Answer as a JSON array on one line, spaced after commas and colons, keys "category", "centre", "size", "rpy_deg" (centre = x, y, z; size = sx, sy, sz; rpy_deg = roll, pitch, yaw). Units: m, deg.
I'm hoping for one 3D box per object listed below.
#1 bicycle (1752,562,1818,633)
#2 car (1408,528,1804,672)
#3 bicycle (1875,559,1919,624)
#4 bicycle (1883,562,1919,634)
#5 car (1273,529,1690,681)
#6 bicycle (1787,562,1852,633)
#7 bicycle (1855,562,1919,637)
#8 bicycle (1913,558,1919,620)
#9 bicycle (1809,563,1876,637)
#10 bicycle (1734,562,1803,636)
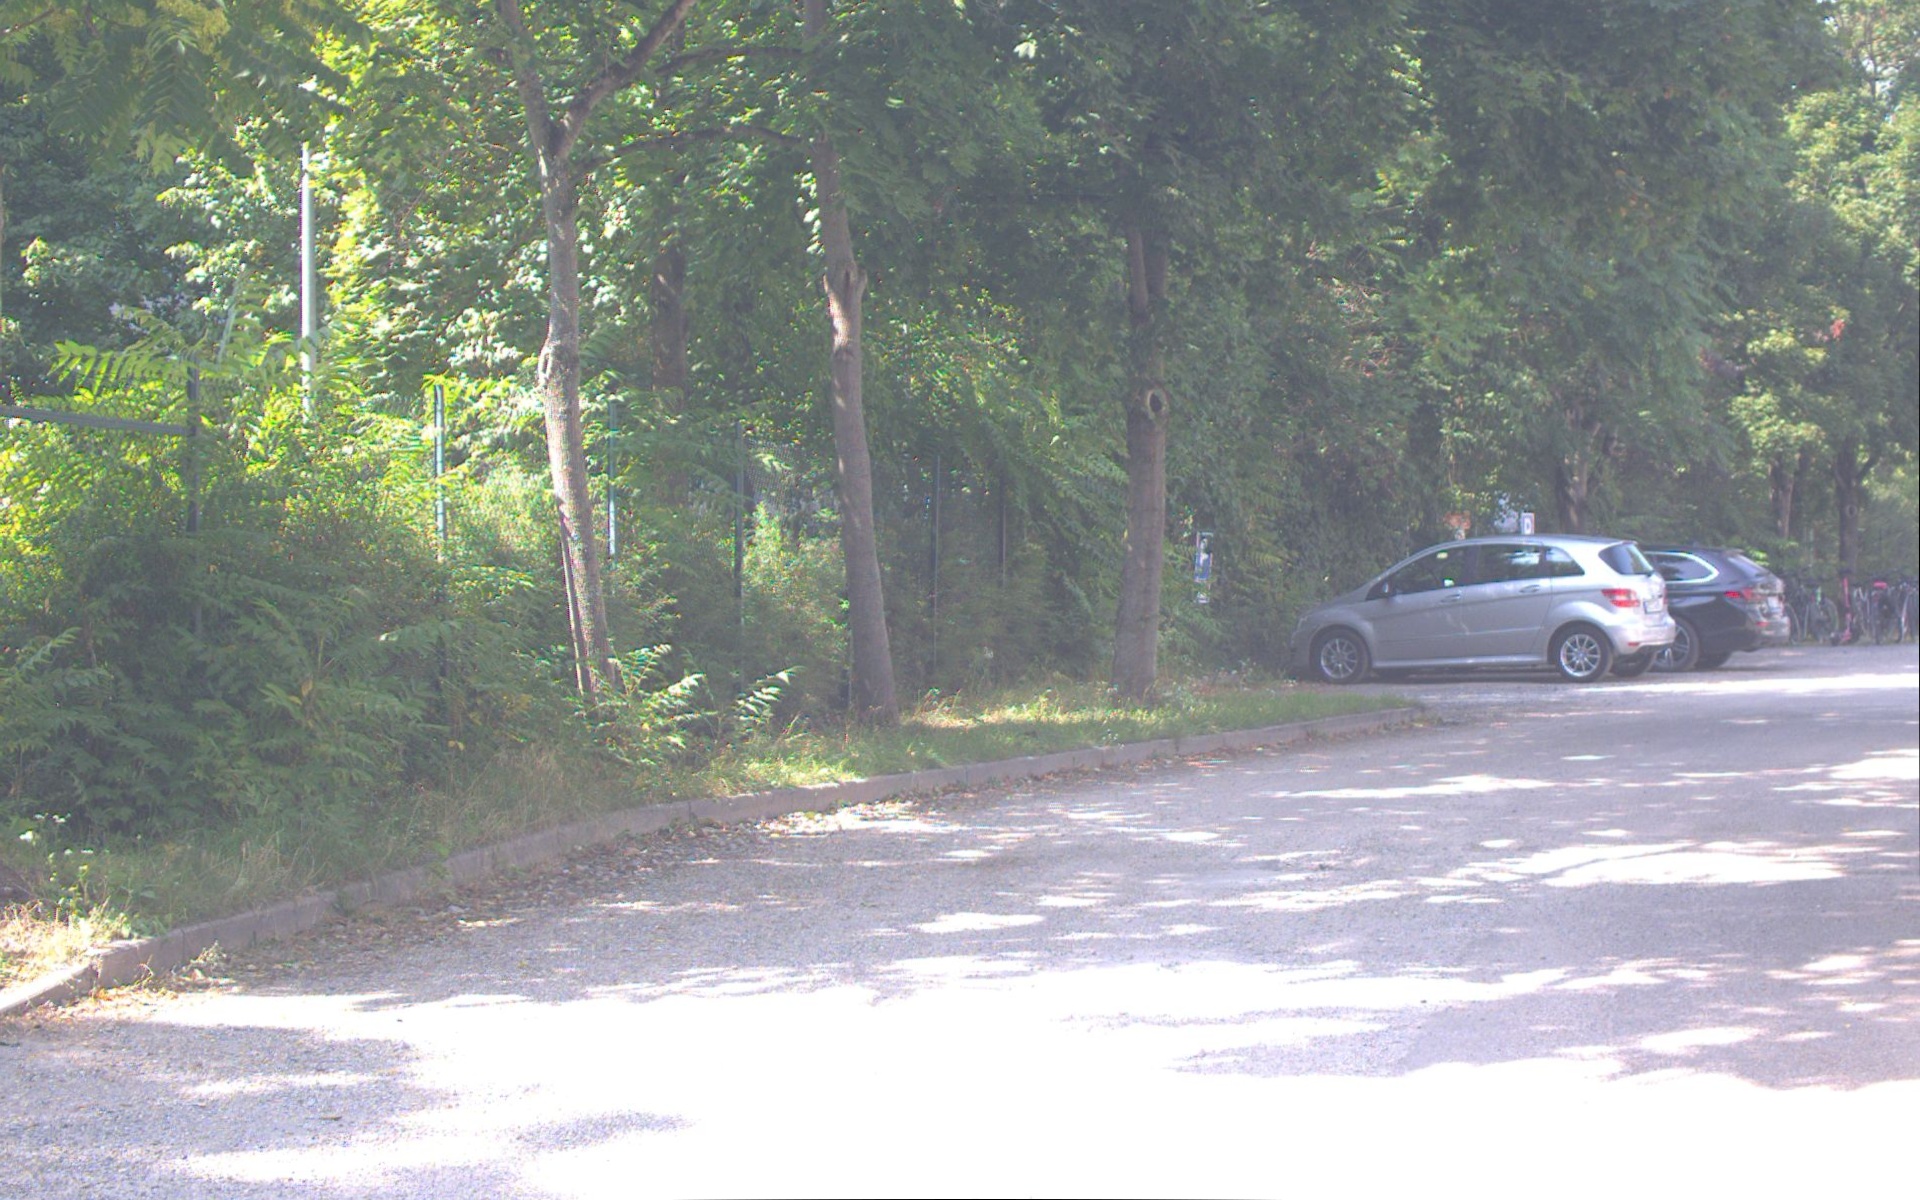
[{"category": "bicycle", "centre": [13.175, -0.044, 54.854], "size": [0.499, 1.104, 1.797], "rpy_deg": [0, 1, 31]}, {"category": "car", "centre": [7.537, -0.038, 40.132], "size": [4.154, 1.607, 1.997], "rpy_deg": [1, 1, 28]}, {"category": "bicycle", "centre": [16.429, -0.159, 59.836], "size": [0.499, 1.104, 1.797], "rpy_deg": [0, 1, 31]}, {"category": "bicycle", "centre": [15.102, -0.041, 54.339], "size": [0.499, 1.104, 1.797], "rpy_deg": [0, 1, 31]}, {"category": "car", "centre": [5.778, 0.019, 38.141], "size": [4.154, 1.607, 1.997], "rpy_deg": [1, 1, 28]}, {"category": "bicycle", "centre": [13.665, -0.053, 54.620], "size": [0.499, 1.104, 1.797], "rpy_deg": [0, 1, 31]}, {"category": "bicycle", "centre": [14.030, -0.023, 51.926], "size": [0.499, 1.104, 1.797], "rpy_deg": [0, 1, 31]}, {"category": "bicycle", "centre": [17.717, -0.201, 62.079], "size": [0.499, 1.104, 1.797], "rpy_deg": [0, 1, 31]}, {"category": "bicycle", "centre": [13.526, -0.007, 52.667], "size": [0.499, 1.104, 1.797], "rpy_deg": [0, 1, 31]}, {"category": "bicycle", "centre": [12.440, -0.018, 52.854], "size": [0.499, 1.104, 1.797], "rpy_deg": [0, 1, 31]}]
